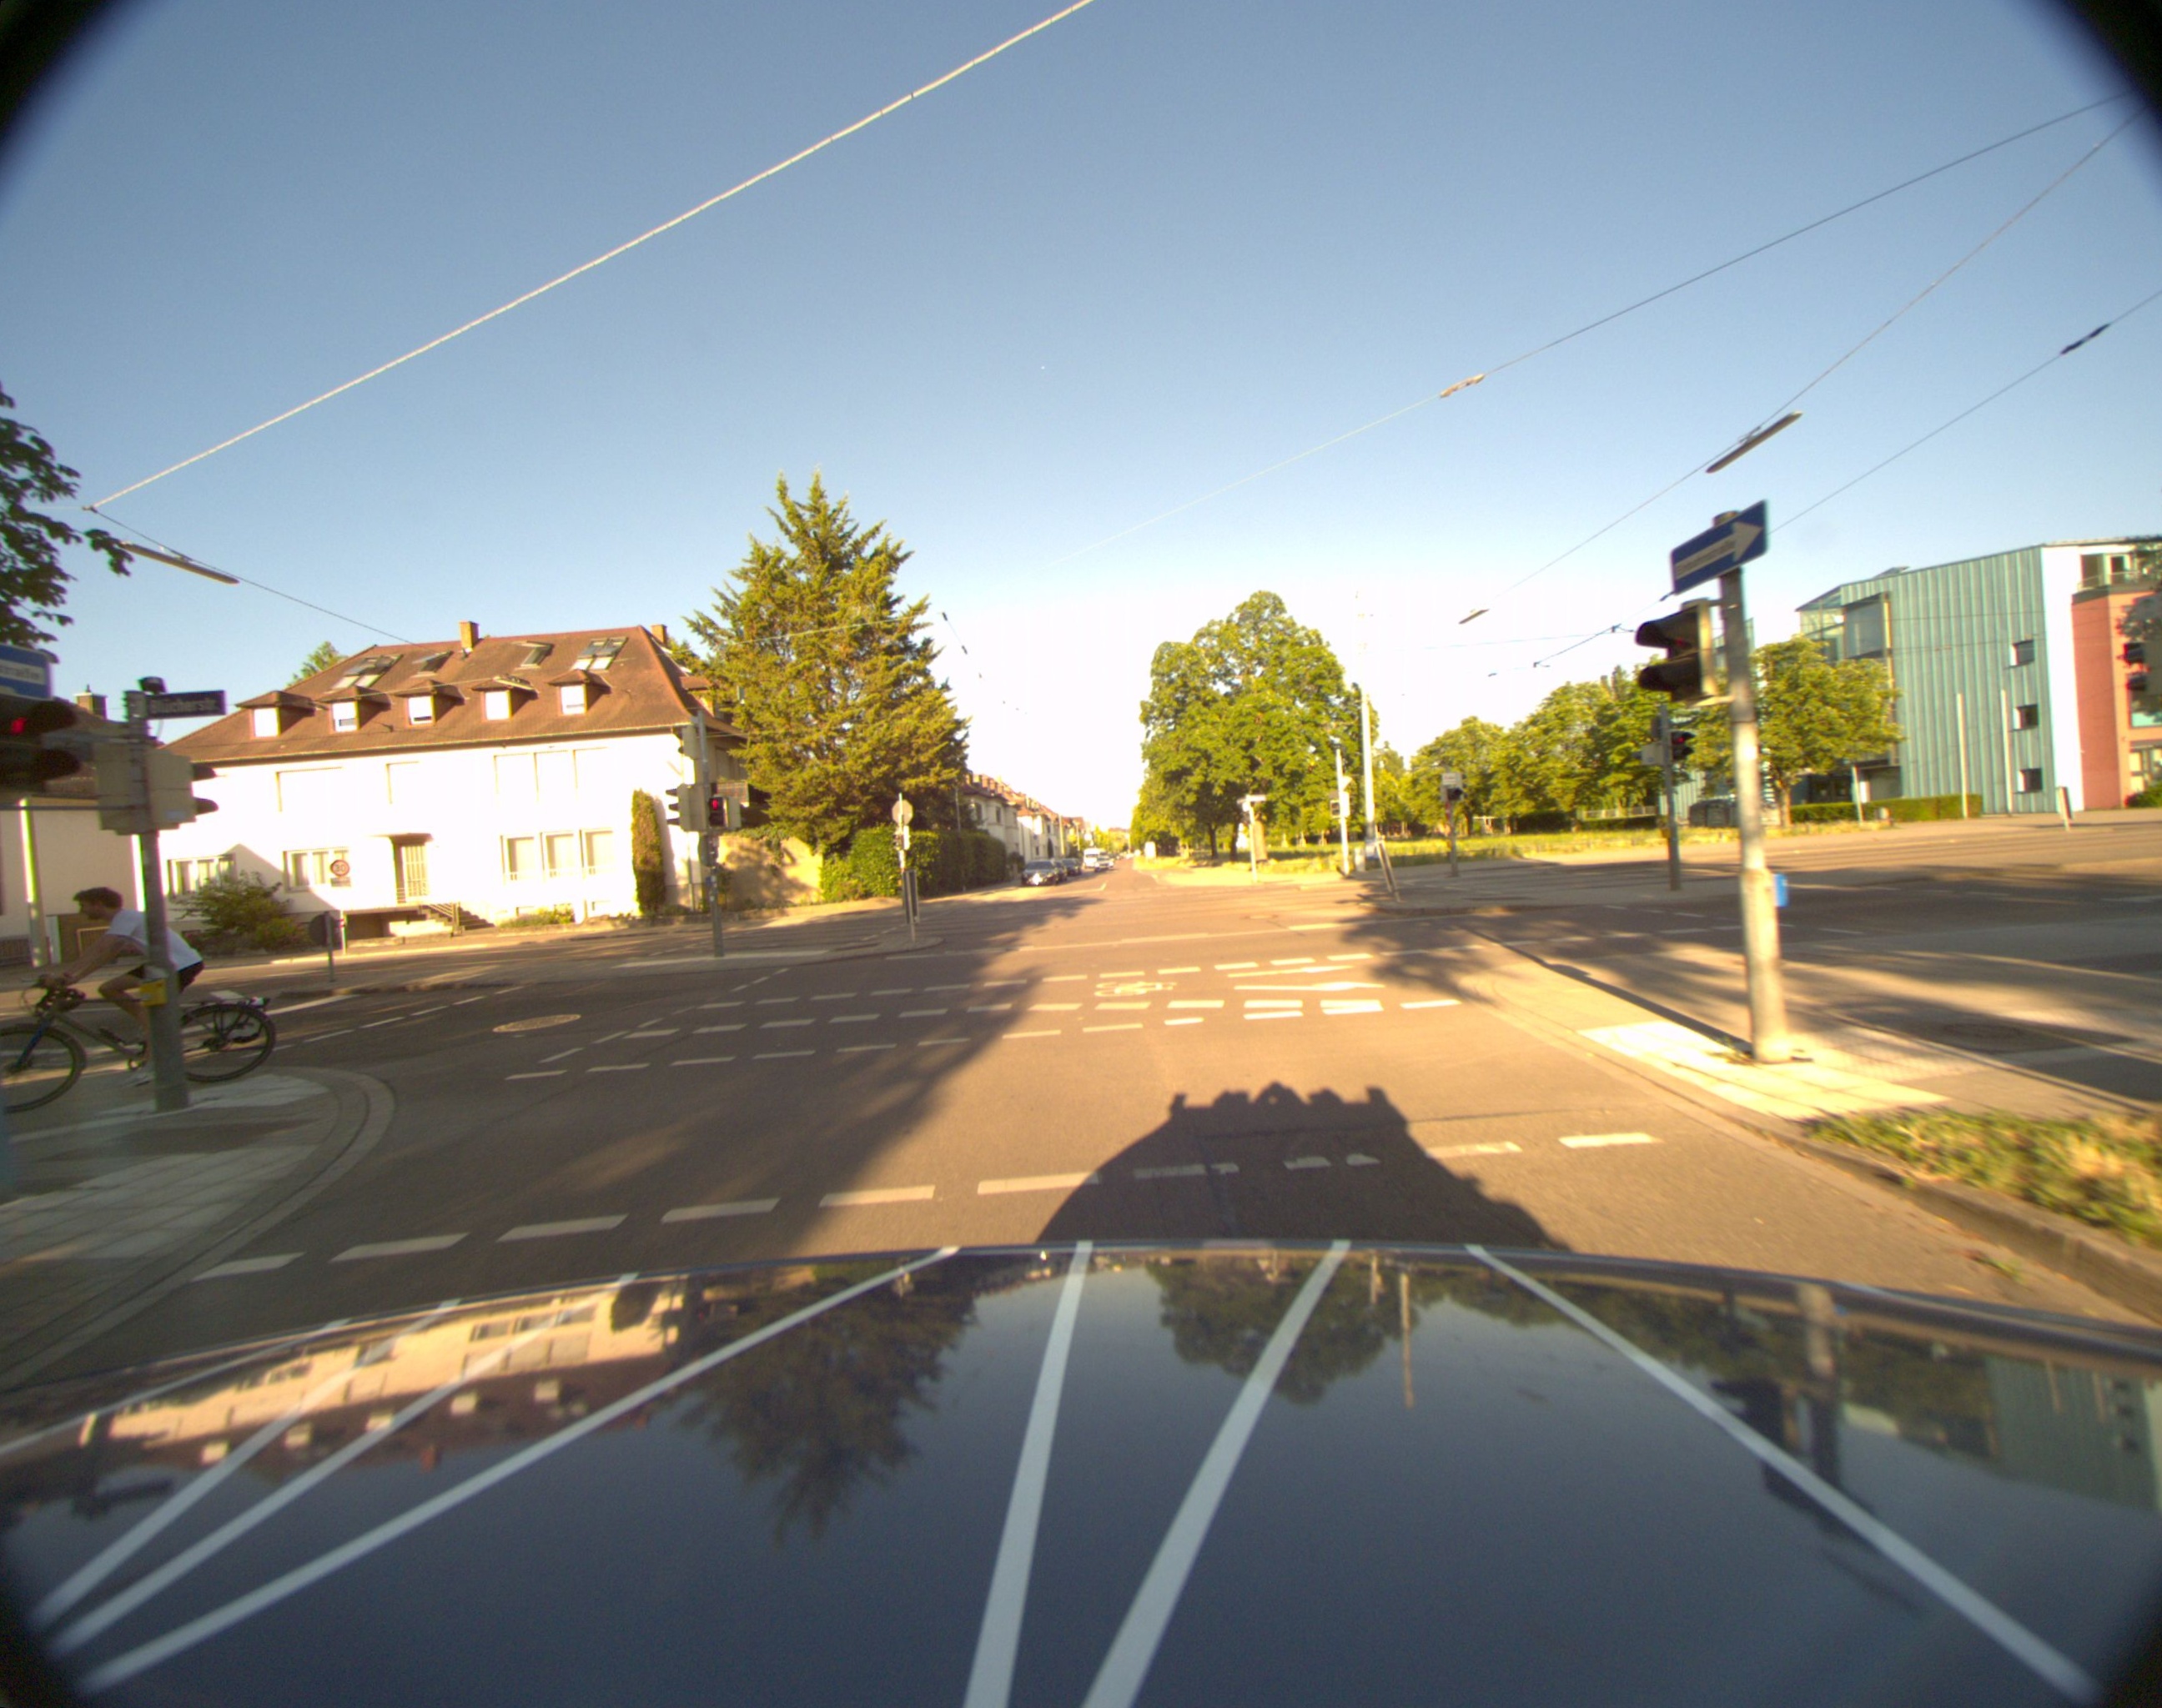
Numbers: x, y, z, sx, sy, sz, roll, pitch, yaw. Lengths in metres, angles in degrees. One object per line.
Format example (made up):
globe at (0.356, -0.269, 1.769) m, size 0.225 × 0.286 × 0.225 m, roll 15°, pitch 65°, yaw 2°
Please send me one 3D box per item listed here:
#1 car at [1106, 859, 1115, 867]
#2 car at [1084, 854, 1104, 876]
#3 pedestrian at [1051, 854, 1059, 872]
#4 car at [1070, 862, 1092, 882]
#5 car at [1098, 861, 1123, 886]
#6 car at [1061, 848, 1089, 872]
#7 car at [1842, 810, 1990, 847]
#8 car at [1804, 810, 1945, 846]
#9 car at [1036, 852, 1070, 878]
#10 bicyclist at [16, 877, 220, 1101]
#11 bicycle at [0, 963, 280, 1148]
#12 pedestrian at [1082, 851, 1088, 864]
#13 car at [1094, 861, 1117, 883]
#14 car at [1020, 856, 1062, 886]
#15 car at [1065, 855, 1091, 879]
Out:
car at (6.122, 1.883, 157.556) m, size 1.682 × 1.543 × 3.843 m, roll -3°, pitch 0°, yaw 2°
car at (1.699, 1.409, 98.901) m, size 2.131 × 2.461 × 5.724 m, roll -6°, pitch 1°, yaw 4°
pedestrian at (-2.789, 0.932, 81.139) m, size 0.587 × 1.835 × 0.824 m, roll -6°, pitch 2°, yaw 6°
car at (0.067, 1.710, 73.203) m, size 1.788 × 1.498 × 4.000 m, roll -6°, pitch 1°, yaw 2°
car at (2.677, 1.761, 70.111) m, size 1.998 × 2.002 × 3.999 m, roll -6°, pitch 1°, yaw 0°
car at (-0.412, 0.469, 60.573) m, size 1.795 × 1.586 × 4.078 m, roll -6°, pitch 0°, yaw 4°
car at (42.107, -1.258, 38.410) m, size 5.219 × 1.662 × 2.000 m, roll -2°, pitch 1°, yaw 1°
car at (42.233, -1.381, 40.535) m, size 5.218 × 1.661 × 1.968 m, roll -2°, pitch -1°, yaw 3°
car at (-1.854, 0.726, 51.481) m, size 1.784 × 1.469 × 4.001 m, roll -6°, pitch 0°, yaw 4°
bicyclist at (-8.448, 1.131, 6.733) m, size 0.815 × 1.722 × 0.895 m, roll -5°, pitch 2°, yaw 44°
bicycle at (-8.483, 1.721, 6.648) m, size 0.573 × 1.177 × 1.908 m, roll -5°, pitch 1°, yaw 42°
pedestrian at (0.591, 0.513, 111.351) m, size 0.531 × 1.788 × 0.589 m, roll -6°, pitch 1°, yaw 3°
car at (2.397, 1.705, 74.227) m, size 1.998 × 1.775 × 4.000 m, roll -6°, pitch 1°, yaw 3°
car at (-2.264, 0.952, 44.593) m, size 2.008 × 1.490 × 4.915 m, roll -3°, pitch 0°, yaw 2°
car at (-0.254, 1.105, 65.585) m, size 1.998 × 1.751 × 3.999 m, roll -6°, pitch 1°, yaw 0°
